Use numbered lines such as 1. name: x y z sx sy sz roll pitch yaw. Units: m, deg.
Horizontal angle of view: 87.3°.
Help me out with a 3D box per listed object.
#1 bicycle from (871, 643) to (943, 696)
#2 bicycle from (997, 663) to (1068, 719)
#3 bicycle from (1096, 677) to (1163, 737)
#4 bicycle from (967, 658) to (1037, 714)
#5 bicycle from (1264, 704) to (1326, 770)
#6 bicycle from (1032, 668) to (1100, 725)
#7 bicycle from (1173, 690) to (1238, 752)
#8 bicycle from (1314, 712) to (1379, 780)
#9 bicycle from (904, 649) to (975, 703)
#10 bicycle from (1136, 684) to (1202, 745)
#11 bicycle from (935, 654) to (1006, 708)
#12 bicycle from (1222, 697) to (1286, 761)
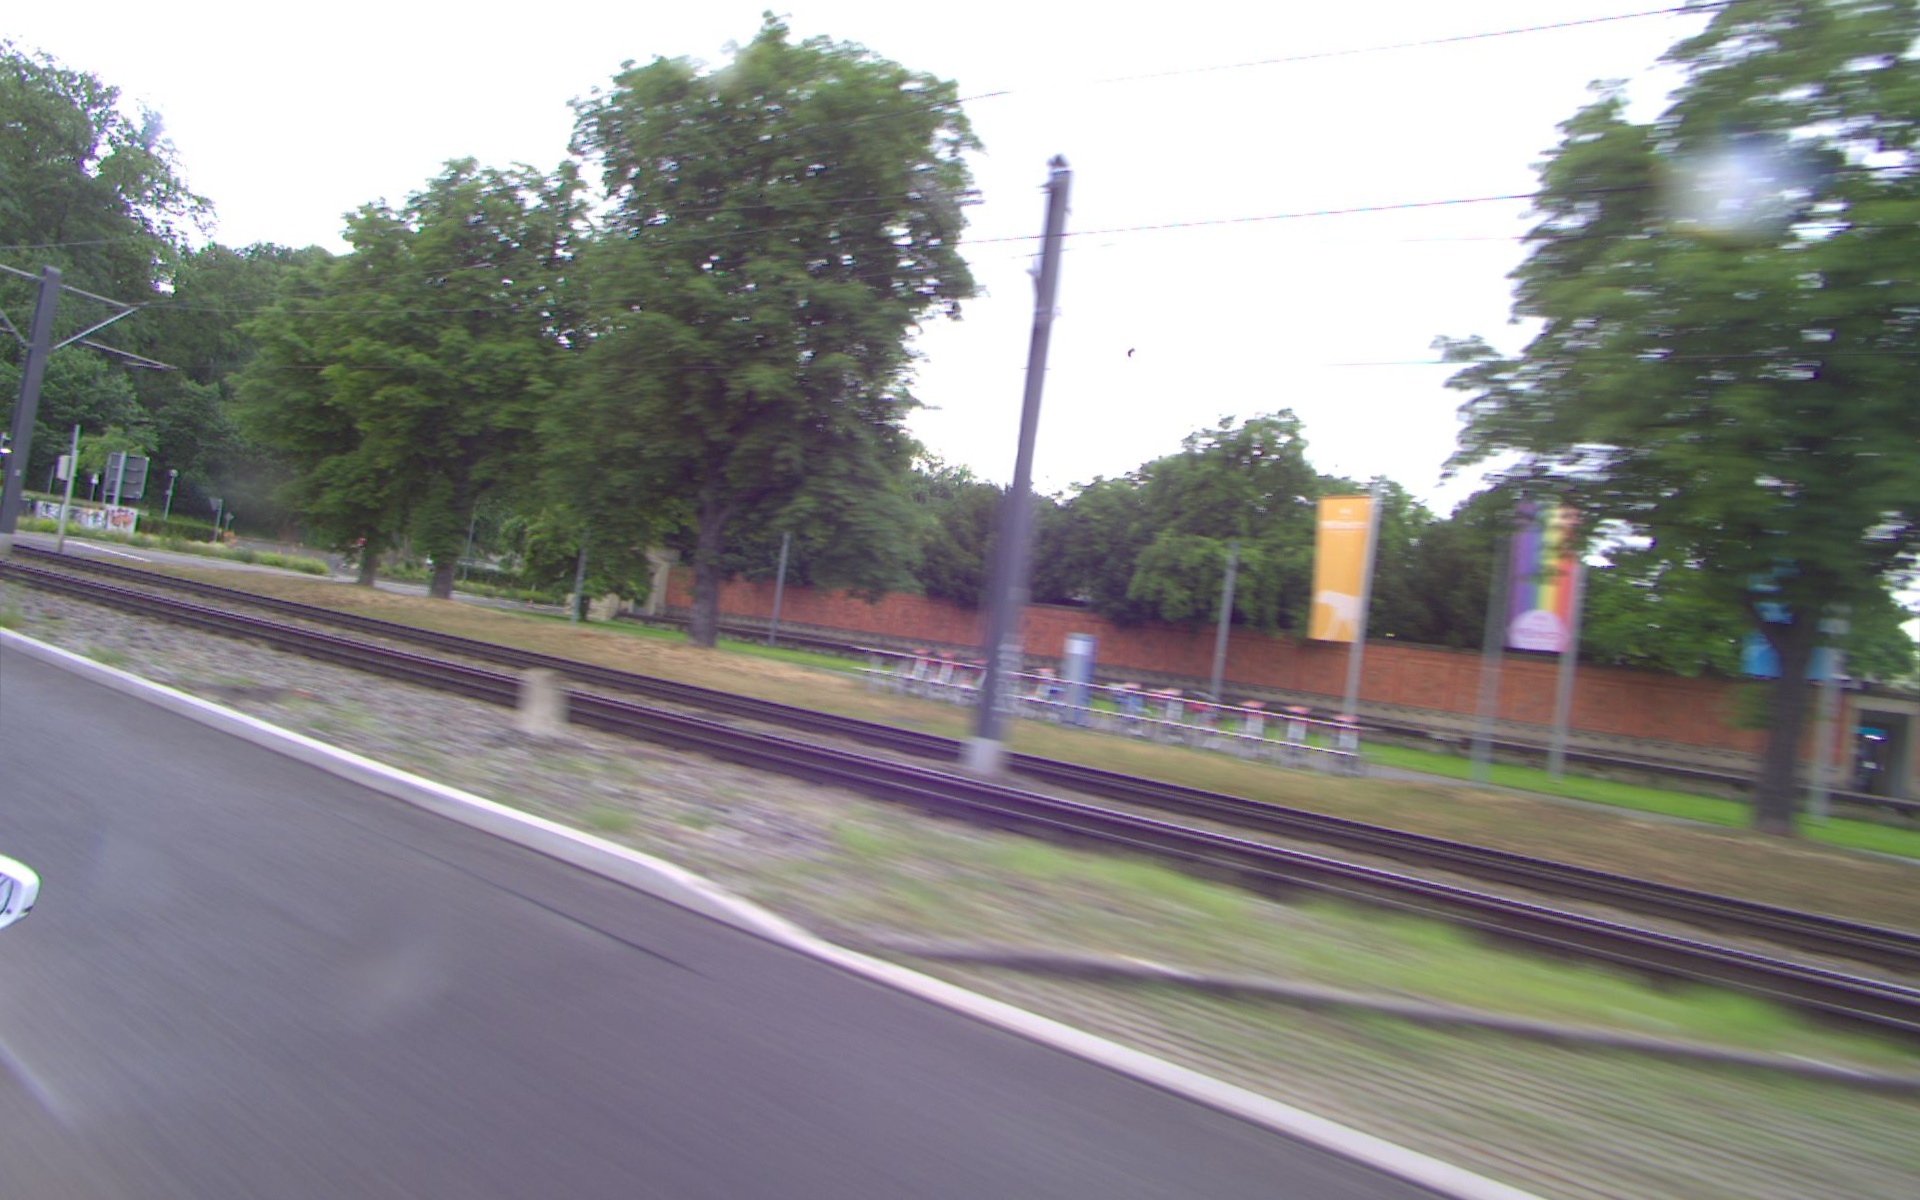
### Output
1. bicycle: -1.189 1.610 22.919 0.642 1.043 1.815 7 -2 29
2. bicycle: 1.550 1.928 21.138 0.642 1.043 1.839 7 -2 29
3. bicycle: 3.389 2.138 19.999 0.642 1.046 1.815 7 -2 29
4. bicycle: 0.917 1.858 21.565 0.642 1.043 1.815 7 -2 29
5. bicycle: 6.103 2.469 18.261 0.642 1.043 1.815 7 -2 29
6. bicycle: 2.224 2.024 20.914 0.642 1.043 1.815 7 -2 29
7. bicycle: 4.732 2.319 19.300 0.642 1.043 1.852 7 -2 29
8. bicycle: 6.953 2.591 18.022 0.677 1.043 2.229 7 -2 29
9. bicycle: -0.434 1.711 22.503 0.642 1.043 1.815 7 -2 29
10. bicycle: 4.091 2.229 19.585 0.642 1.043 1.815 7 -2 29
11. bicycle: 0.253 1.787 21.988 0.642 1.043 1.815 7 -2 29
12. bicycle: 5.541 2.415 18.890 0.642 1.043 1.815 7 -2 29
